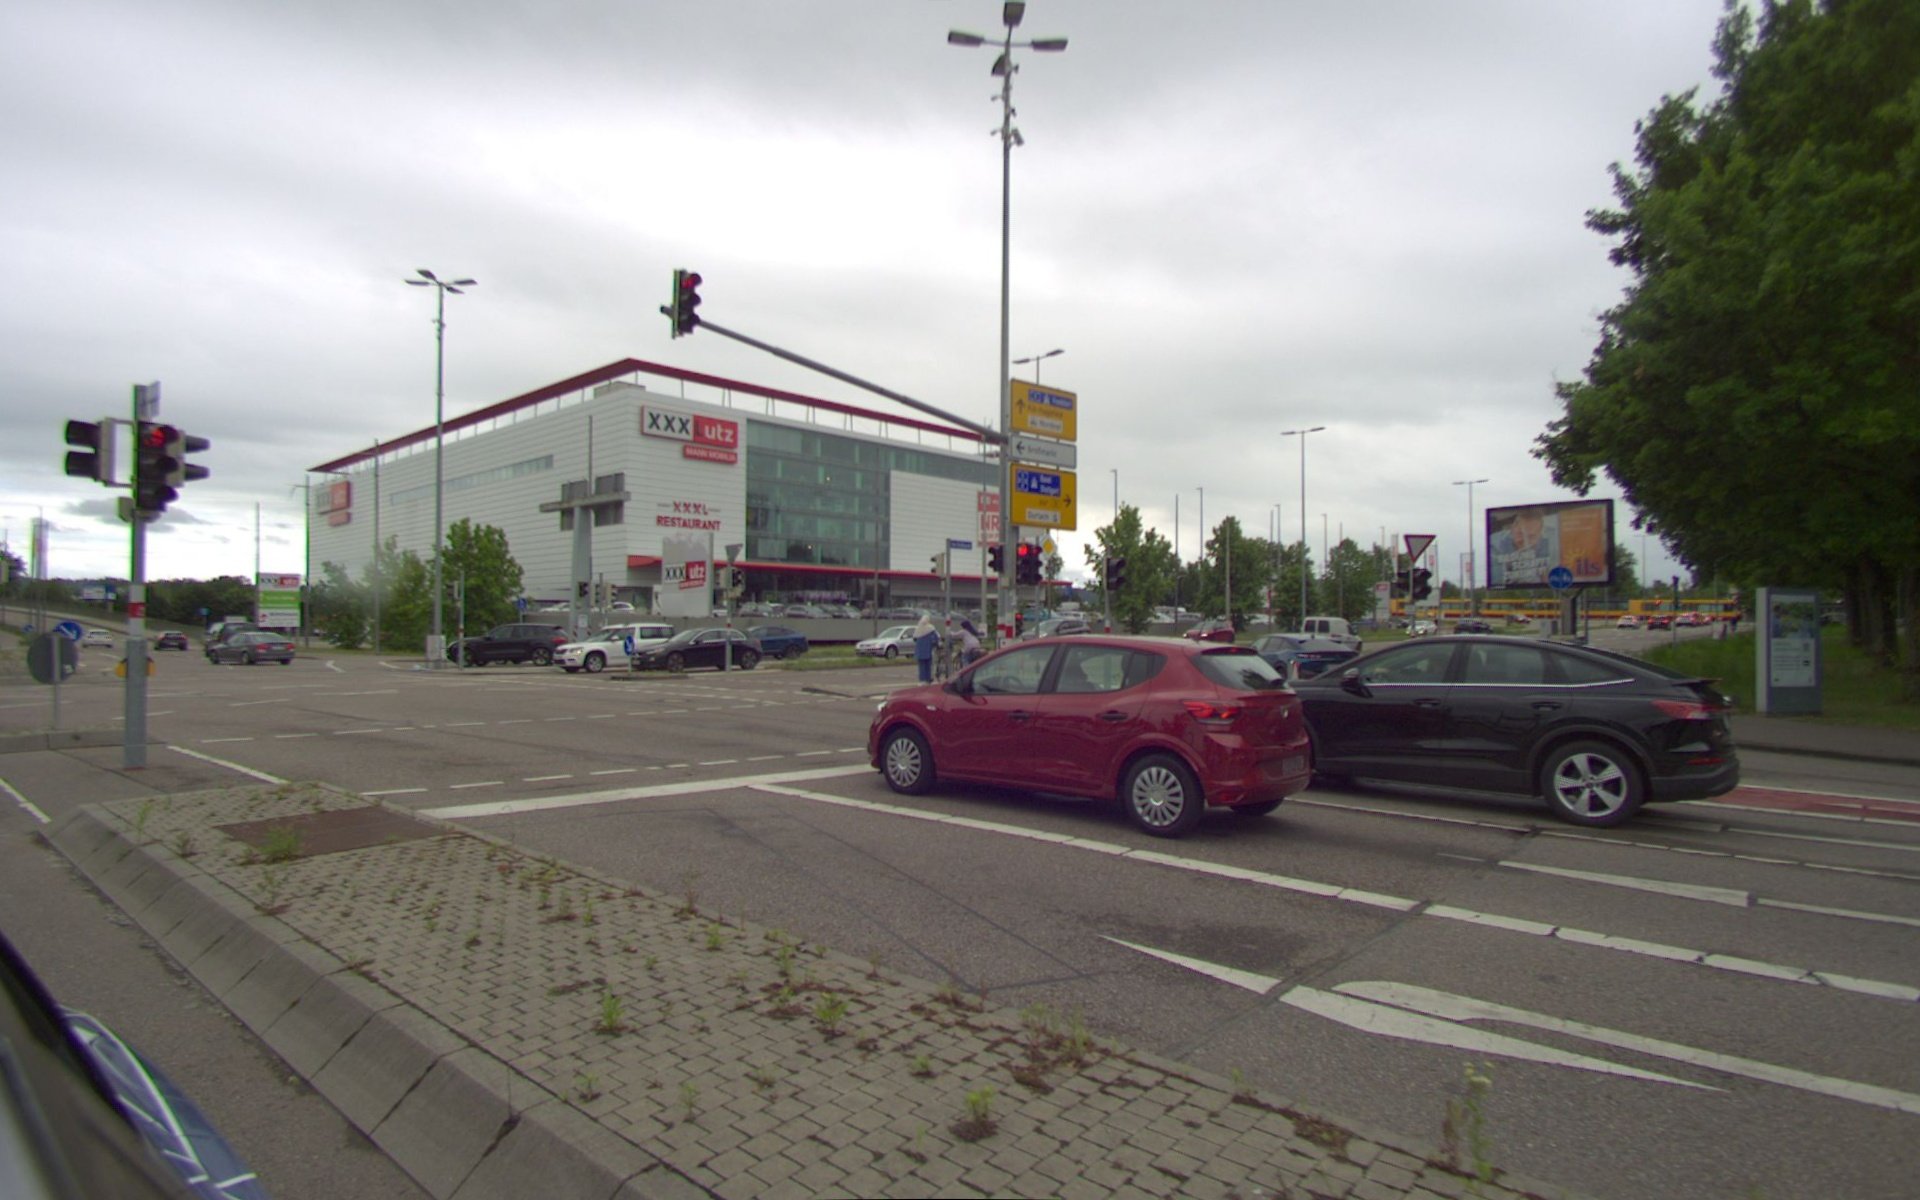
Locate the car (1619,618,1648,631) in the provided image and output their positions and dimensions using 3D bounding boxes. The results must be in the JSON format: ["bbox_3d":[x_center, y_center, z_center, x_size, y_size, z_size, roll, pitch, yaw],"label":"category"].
[{"bbox_3d":[75.398,2.710,113.249,3.871,1.463,1.790,1,-1,-41],"label":"car"}]

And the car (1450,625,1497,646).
[{"bbox_3d":[35.315,2.434,69.537,1.728,1.382,3.941,-1,-2,45],"label":"car"}]

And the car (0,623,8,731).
[{"bbox_3d":[-12.962,0.932,11.390,1.828,1.445,4.209,0,-3,-22],"label":"car"}]

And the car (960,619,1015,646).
[{"bbox_3d":[2.166,2.563,80.026,3.999,2.029,1.972,-4,-3,42],"label":"car"}]

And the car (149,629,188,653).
[{"bbox_3d":[-59.470,3.109,76.047,4.002,1.674,1.833,-4,-3,45],"label":"car"}]

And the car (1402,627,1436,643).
[{"bbox_3d":[46.234,3.530,101.838,1.803,1.426,4.158,-4,-3,44],"label":"car"}]

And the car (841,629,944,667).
[{"bbox_3d":[-2.782,1.984,42.527,1.803,1.426,4.158,-4,-3,44],"label":"car"}]

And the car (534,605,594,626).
[{"bbox_3d":[-32.728,1.272,83.676,1.777,1.688,4.198,-4,-3,44],"label":"car"}]

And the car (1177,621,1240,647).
[{"bbox_3d":[14.994,2.047,61.027,1.803,1.426,4.158,-4,-3,44],"label":"car"}]

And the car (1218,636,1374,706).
[{"bbox_3d":[7.981,1.660,24.467,1.674,1.498,4.129,1,-2,-13],"label":"car"}]

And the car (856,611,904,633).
[{"bbox_3d":[-7.074,1.942,89.612,3.998,1.752,1.972,-4,-3,42],"label":"car"}]

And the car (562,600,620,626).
[{"bbox_3d":[-30.050,1.061,82.495,3.941,2.029,2.001,0,-3,-45],"label":"car"}]

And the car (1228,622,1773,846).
[{"bbox_3d":[5.015,1.101,9.721,4.329,1.650,1.861,-1,-4,39],"label":"car"}]

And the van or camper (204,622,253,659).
[{"bbox_3d":[-41.906,2.359,57.926,2.129,2.029,4.954,3,-4,-37],"label":"van or camper"}]

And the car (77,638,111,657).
[{"bbox_3d":[-68.586,3.782,80.190,1.805,1.421,4.205,5,-6,-38],"label":"car"}]

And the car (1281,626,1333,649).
[{"bbox_3d":[24.194,2.614,70.440,1.803,1.426,4.158,-4,-3,44],"label":"car"}]

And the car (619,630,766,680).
[{"bbox_3d":[-8.524,1.731,32.464,4.192,1.389,1.771,0,-3,-40],"label":"car"}]

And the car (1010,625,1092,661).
[{"bbox_3d":[4.538,2.114,50.118,1.803,1.586,4.158,-4,-3,44],"label":"car"}]

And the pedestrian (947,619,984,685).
[{"bbox_3d":[0.125,1.251,24.604,0.642,1.560,0.652,-2,0,-24],"label":"pedestrian"}]

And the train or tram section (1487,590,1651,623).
[{"bbox_3d":[101.946,1.205,170.294,23.274,4.875,3.583,-2,-2,41],"label":"train or tram section"}]

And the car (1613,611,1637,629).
[{"bbox_3d":[85.556,2.610,130.165,1.999,2.236,3.945,-1,-2,41],"label":"car"}]

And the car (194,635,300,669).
[{"bbox_3d":[-31.273,2.282,44.381,4.854,1.422,1.800,-2,-3,28],"label":"car"}]

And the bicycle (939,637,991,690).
[{"bbox_3d":[0.105,1.524,24.635,0.499,1.174,1.954,-2,0,-24],"label":"bicycle"}]

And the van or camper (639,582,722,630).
[{"bbox_3d":[-20.837,0.493,75.197,7.239,3.159,2.675,-4,-3,45],"label":"van or camper"}]

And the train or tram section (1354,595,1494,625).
[{"bbox_3d":[84.571,1.877,185.513,23.274,4.875,3.583,-2,-2,41],"label":"train or tram section"}]

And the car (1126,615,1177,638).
[{"bbox_3d":[18.263,2.493,96.464,4.326,2.029,1.972,-4,-3,42],"label":"car"}]

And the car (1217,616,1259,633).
[{"bbox_3d":[29.672,2.620,108.046,4.001,1.577,1.770,-4,-3,44],"label":"car"}]

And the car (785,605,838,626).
[{"bbox_3d":[-11.305,1.183,76.935,3.992,1.448,1.844,-4,-3,41],"label":"car"}]

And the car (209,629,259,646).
[{"bbox_3d":[-76.240,3.944,106.309,4.133,1.622,1.724,0,-3,-42],"label":"car"}]

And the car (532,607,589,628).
[{"bbox_3d":[-34.114,1.487,86.494,1.777,1.688,4.198,-4,-3,44],"label":"car"}]

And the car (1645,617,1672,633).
[{"bbox_3d":[75.570,2.705,109.460,1.848,1.668,4.301,1,0,41],"label":"car"}]

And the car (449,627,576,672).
[{"bbox_3d":[-17.658,1.963,40.109,4.305,1.637,1.803,-1,-4,-7],"label":"car"}]

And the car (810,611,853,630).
[{"bbox_3d":[-12.521,2.004,98.402,3.998,1.752,1.972,-4,-3,42],"label":"car"}]

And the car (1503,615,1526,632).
[{"bbox_3d":[75.272,3.191,137.307,1.999,2.260,3.945,-1,-2,41],"label":"car"}]

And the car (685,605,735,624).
[{"bbox_3d":[-23.262,1.355,94.119,1.777,1.688,4.198,-4,-3,44],"label":"car"}]

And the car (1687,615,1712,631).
[{"bbox_3d":[94.469,2.958,129.293,3.865,1.901,1.850,2,-4,-43],"label":"car"}]

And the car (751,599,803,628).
[{"bbox_3d":[-13.484,1.008,74.456,3.868,1.962,1.843,-4,-3,43],"label":"car"}]

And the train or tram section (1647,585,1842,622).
[{"bbox_3d":[119.423,0.670,154.962,23.274,4.875,3.583,-2,-2,41],"label":"train or tram section"}]

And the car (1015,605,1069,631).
[{"bbox_3d":[6.647,1.475,82.597,3.999,2.029,1.972,-4,-3,42],"label":"car"}]

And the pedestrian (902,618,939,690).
[{"bbox_3d":[-0.932,1.253,23.628,0.630,1.639,0.694,1,-1,-22],"label":"pedestrian"}]

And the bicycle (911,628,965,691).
[{"bbox_3d":[-0.530,1.373,23.801,0.587,1.407,1.940,2,-2,-22],"label":"bicycle"}]

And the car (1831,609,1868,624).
[{"bbox_3d":[134.073,2.516,152.545,3.999,2.029,1.972,-4,-3,42],"label":"car"}]

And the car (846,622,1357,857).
[{"bbox_3d":[1.065,0.995,8.746,4.075,1.499,1.717,0,-2,40],"label":"car"}]

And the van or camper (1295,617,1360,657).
[{"bbox_3d":[17.313,1.722,47.604,1.993,1.735,4.347,-3,-2,31],"label":"van or camper"}]

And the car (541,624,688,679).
[{"bbox_3d":[-11.530,1.688,33.956,1.801,1.637,4.310,-4,-3,45],"label":"car"}]

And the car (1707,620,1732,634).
[{"bbox_3d":[100.642,3.553,134.116,3.865,1.732,1.850,0,-3,-42],"label":"car"}]

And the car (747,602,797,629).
[{"bbox_3d":[-14.936,1.251,80.241,3.866,1.962,1.844,-4,-3,41],"label":"car"}]

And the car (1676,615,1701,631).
[{"bbox_3d":[90.532,2.817,125.799,3.865,1.901,1.850,1,-1,-43],"label":"car"}]

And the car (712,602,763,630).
[{"bbox_3d":[-17.122,1.250,77.867,3.866,1.962,1.844,-4,-3,41],"label":"car"}]
